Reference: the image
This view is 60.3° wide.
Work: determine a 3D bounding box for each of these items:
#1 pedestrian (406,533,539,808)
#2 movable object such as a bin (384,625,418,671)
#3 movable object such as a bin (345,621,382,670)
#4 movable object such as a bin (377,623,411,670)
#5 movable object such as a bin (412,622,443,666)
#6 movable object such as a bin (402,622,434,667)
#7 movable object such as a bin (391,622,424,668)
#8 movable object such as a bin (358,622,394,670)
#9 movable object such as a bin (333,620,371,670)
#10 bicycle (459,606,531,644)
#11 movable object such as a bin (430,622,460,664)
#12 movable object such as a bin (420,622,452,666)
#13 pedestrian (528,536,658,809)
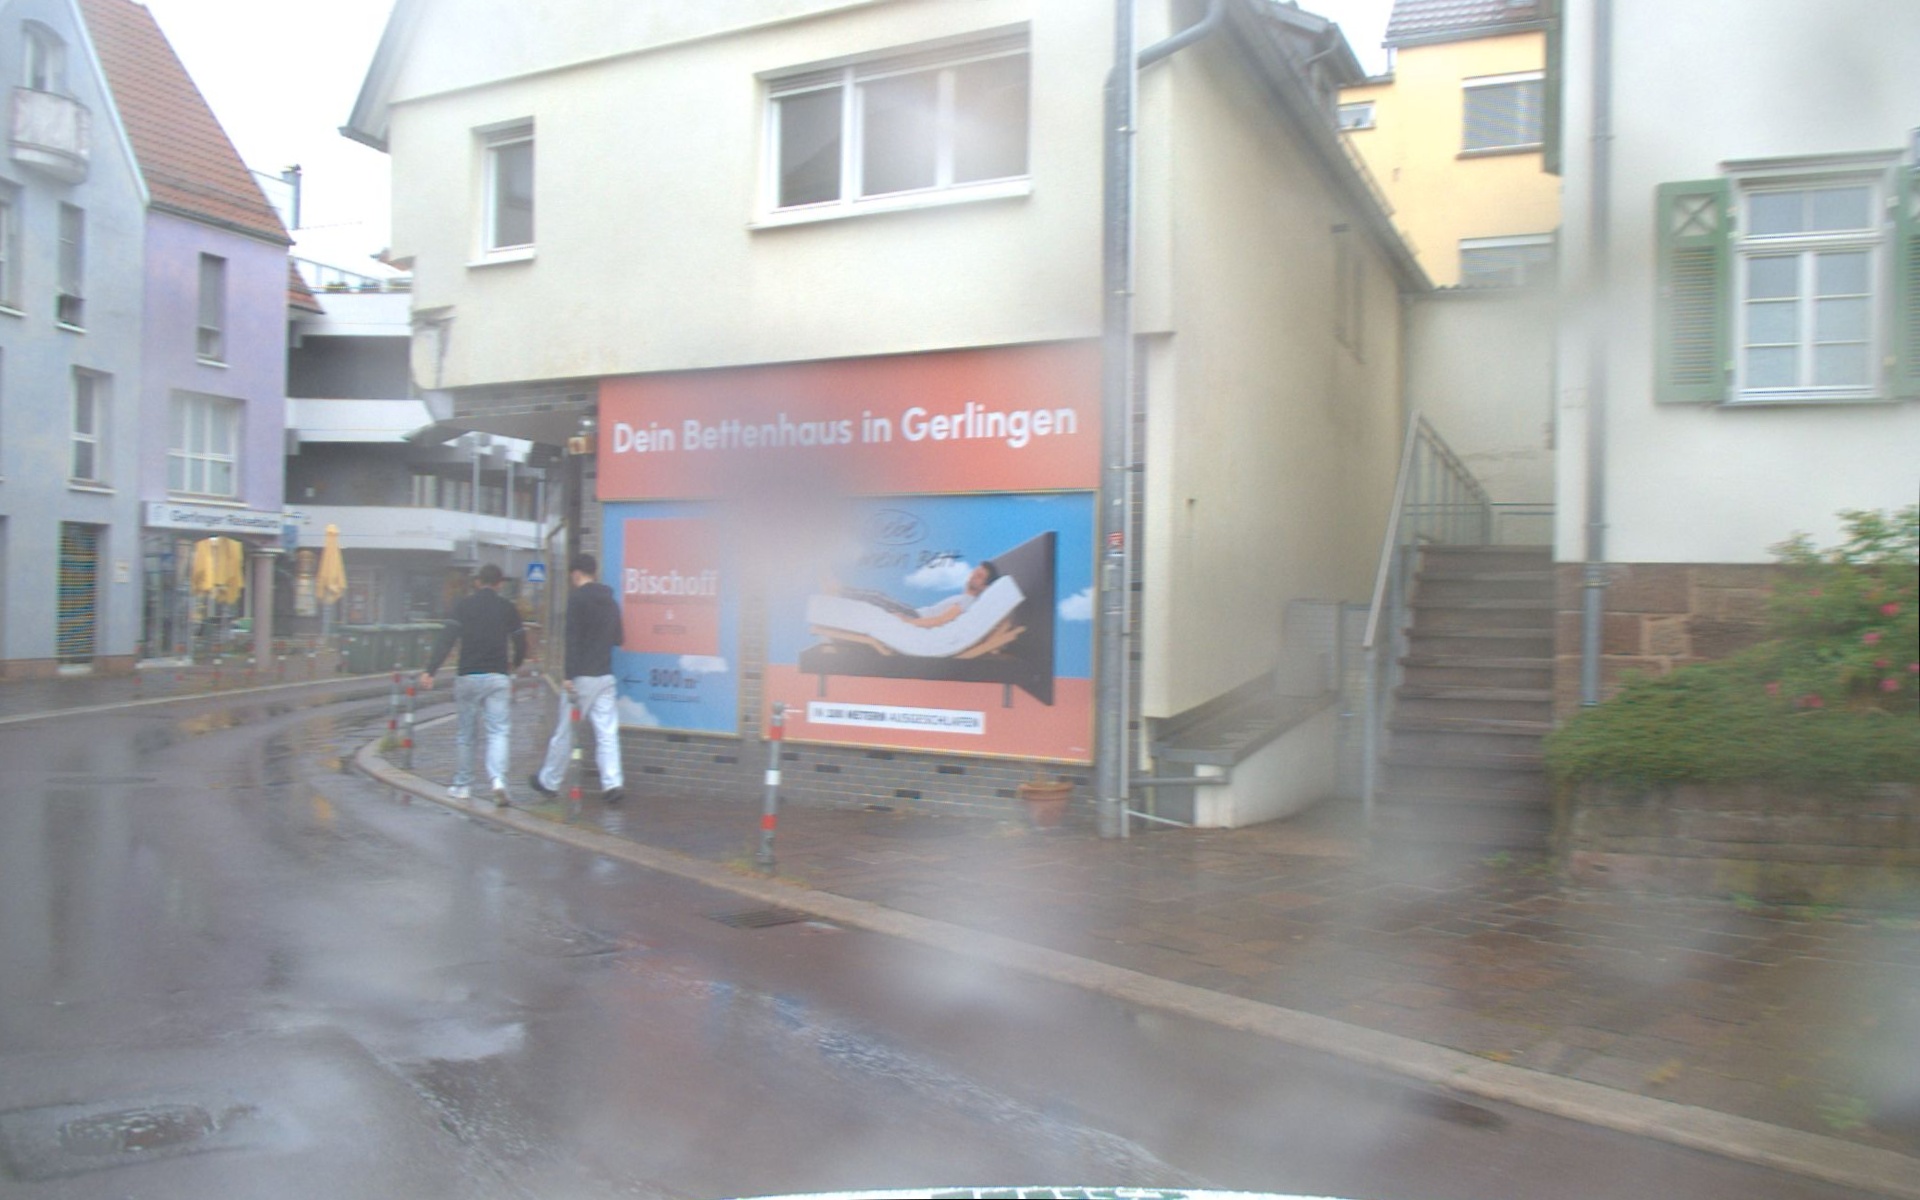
[{"bbox_3d":[-3.774,0.535,12.812,0.745,2.049,0.651,-1,-2,33],"label":"pedestrian"},{"bbox_3d":[-13.956,1.189,41.303,0.619,1.147,0.577,0,-1,3],"label":"movable object such as a bin"},{"bbox_3d":[-13.921,1.055,38.614,0.619,1.147,0.577,0,-1,3],"label":"movable object such as a bin"},{"bbox_3d":[-13.866,1.145,40.531,0.619,1.147,0.577,0,-1,3],"label":"movable object such as a bin"},{"bbox_3d":[-13.977,1.164,43.419,0.619,1.147,0.577,0,-1,3],"label":"movable object such as a bin"},{"bbox_3d":[-14.011,1.150,42.783,0.619,1.147,0.577,0,-1,3],"label":"movable object such as a bin"},{"bbox_3d":[-14.045,1.146,42.054,0.619,1.147,0.577,0,-1,3],"label":"movable object such as a bin"},{"bbox_3d":[-13.909,1.092,39.391,0.619,1.147,0.577,0,-1,3],"label":"movable object such as a bin"},{"bbox_3d":[-13.937,1.033,37.912,0.619,1.147,0.577,0,-1,3],"label":"movable object such as a bin"},{"bbox_3d":[-16.605,0.887,59.120,2.252,1.337,1.011,0,-1,7],"label":"bicycle"},{"bbox_3d":[-13.934,1.164,44.762,0.619,1.147,0.577,0,-1,3],"label":"movable object such as a bin"},{"bbox_3d":[-13.981,1.169,44.137,0.619,1.147,0.577,0,-1,3],"label":"movable object such as a bin"},{"bbox_3d":[-2.860,0.551,12.922,0.745,2.049,0.651,-1,-2,33],"label":"pedestrian"}]
